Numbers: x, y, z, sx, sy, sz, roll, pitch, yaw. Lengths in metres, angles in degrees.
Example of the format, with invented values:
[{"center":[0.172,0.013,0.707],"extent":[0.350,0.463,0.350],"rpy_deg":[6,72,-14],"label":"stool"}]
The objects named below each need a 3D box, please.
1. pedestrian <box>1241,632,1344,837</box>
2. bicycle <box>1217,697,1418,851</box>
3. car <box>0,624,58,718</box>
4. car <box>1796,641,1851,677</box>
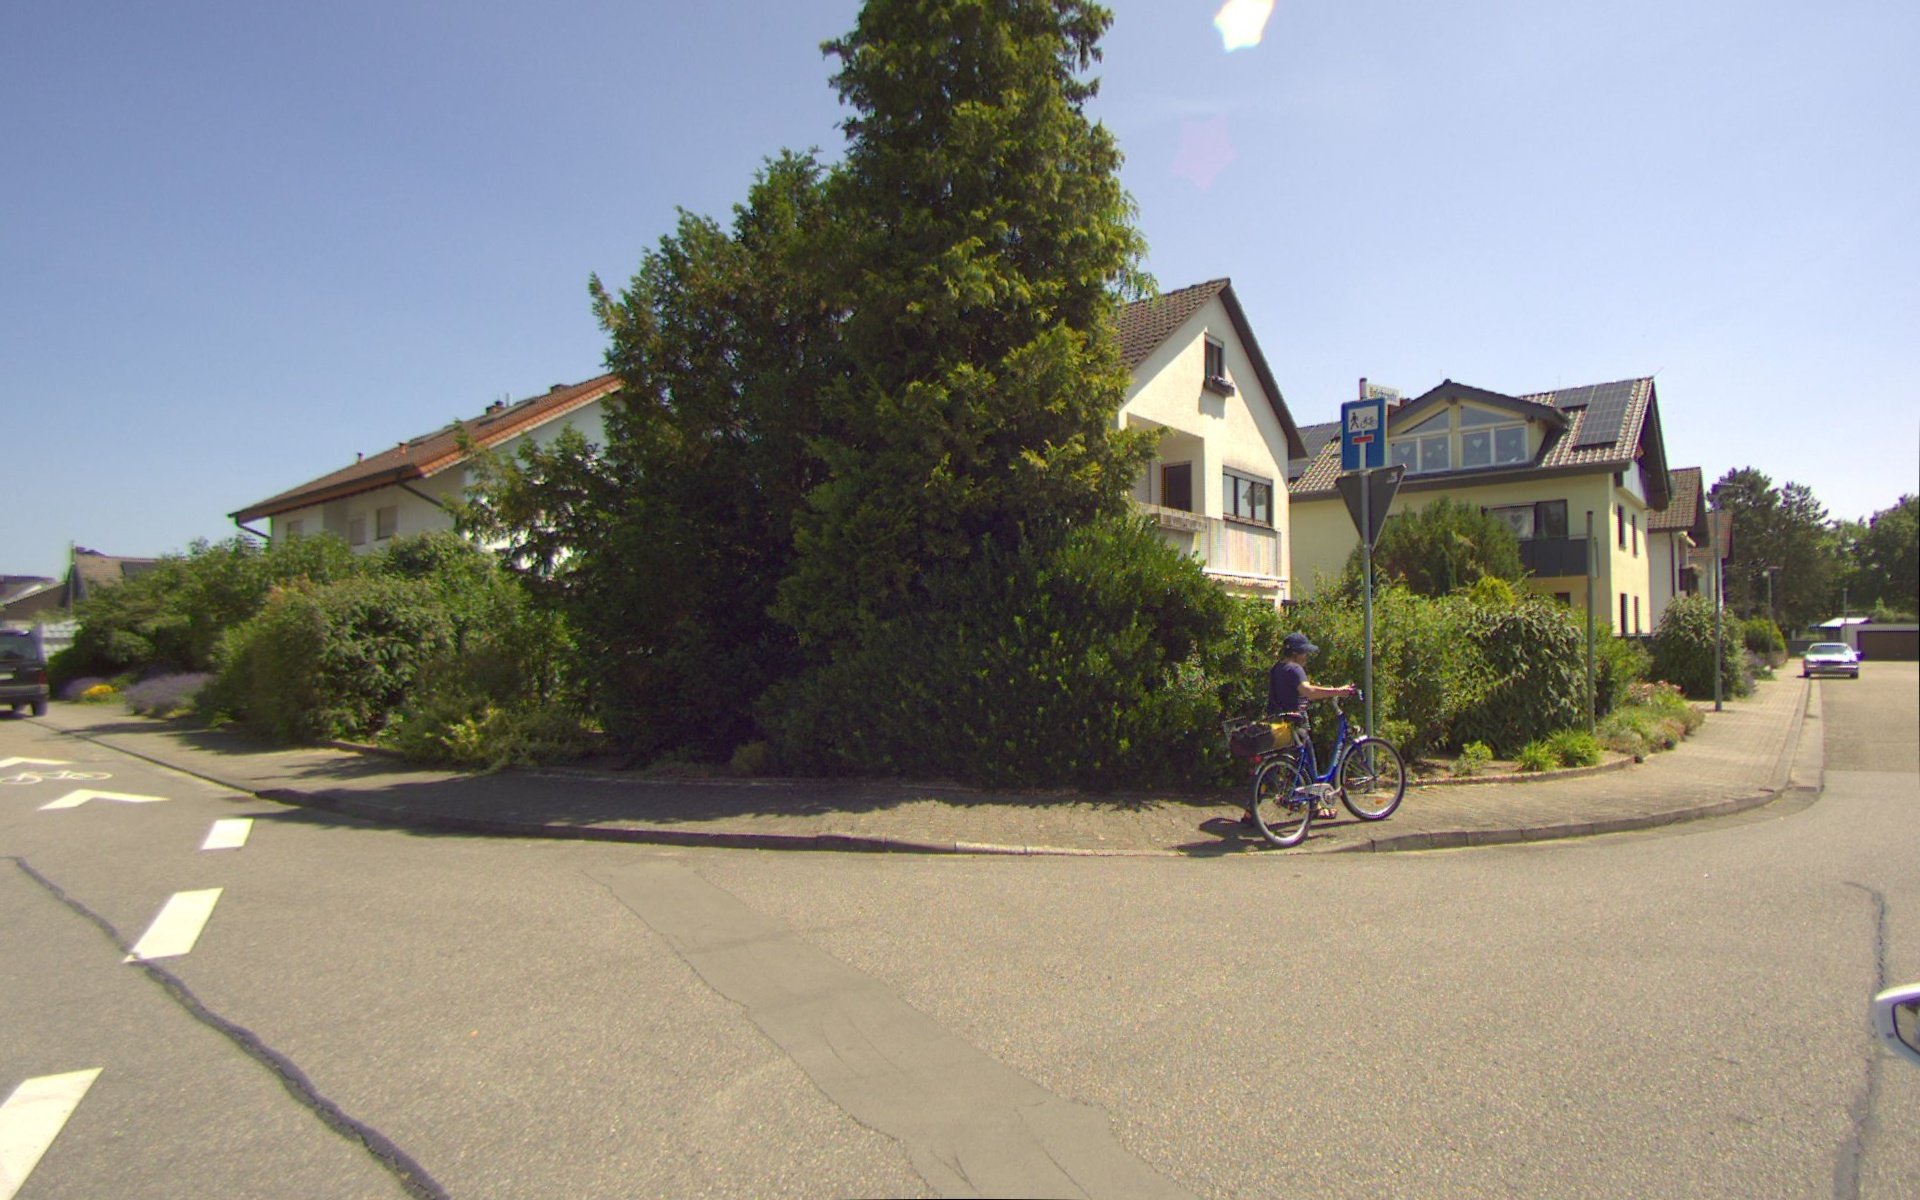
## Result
[{"center":[2.602,1.014,7.870],"extent":[0.606,1.520,0.499],"rpy_deg":[1,-2,-36],"label":"pedestrian"},{"center":[2.767,1.282,7.698],"extent":[1.829,0.976,0.439],"rpy_deg":[1,-2,-34],"label":"bicycle"},{"center":[-20.756,1.471,21.413],"extent":[3.994,1.870,1.716],"rpy_deg":[-2,-2,40],"label":"car"},{"center":[37.093,2.499,43.137],"extent":[1.680,1.411,4.314],"rpy_deg":[-1,-2,41],"label":"car"}]
